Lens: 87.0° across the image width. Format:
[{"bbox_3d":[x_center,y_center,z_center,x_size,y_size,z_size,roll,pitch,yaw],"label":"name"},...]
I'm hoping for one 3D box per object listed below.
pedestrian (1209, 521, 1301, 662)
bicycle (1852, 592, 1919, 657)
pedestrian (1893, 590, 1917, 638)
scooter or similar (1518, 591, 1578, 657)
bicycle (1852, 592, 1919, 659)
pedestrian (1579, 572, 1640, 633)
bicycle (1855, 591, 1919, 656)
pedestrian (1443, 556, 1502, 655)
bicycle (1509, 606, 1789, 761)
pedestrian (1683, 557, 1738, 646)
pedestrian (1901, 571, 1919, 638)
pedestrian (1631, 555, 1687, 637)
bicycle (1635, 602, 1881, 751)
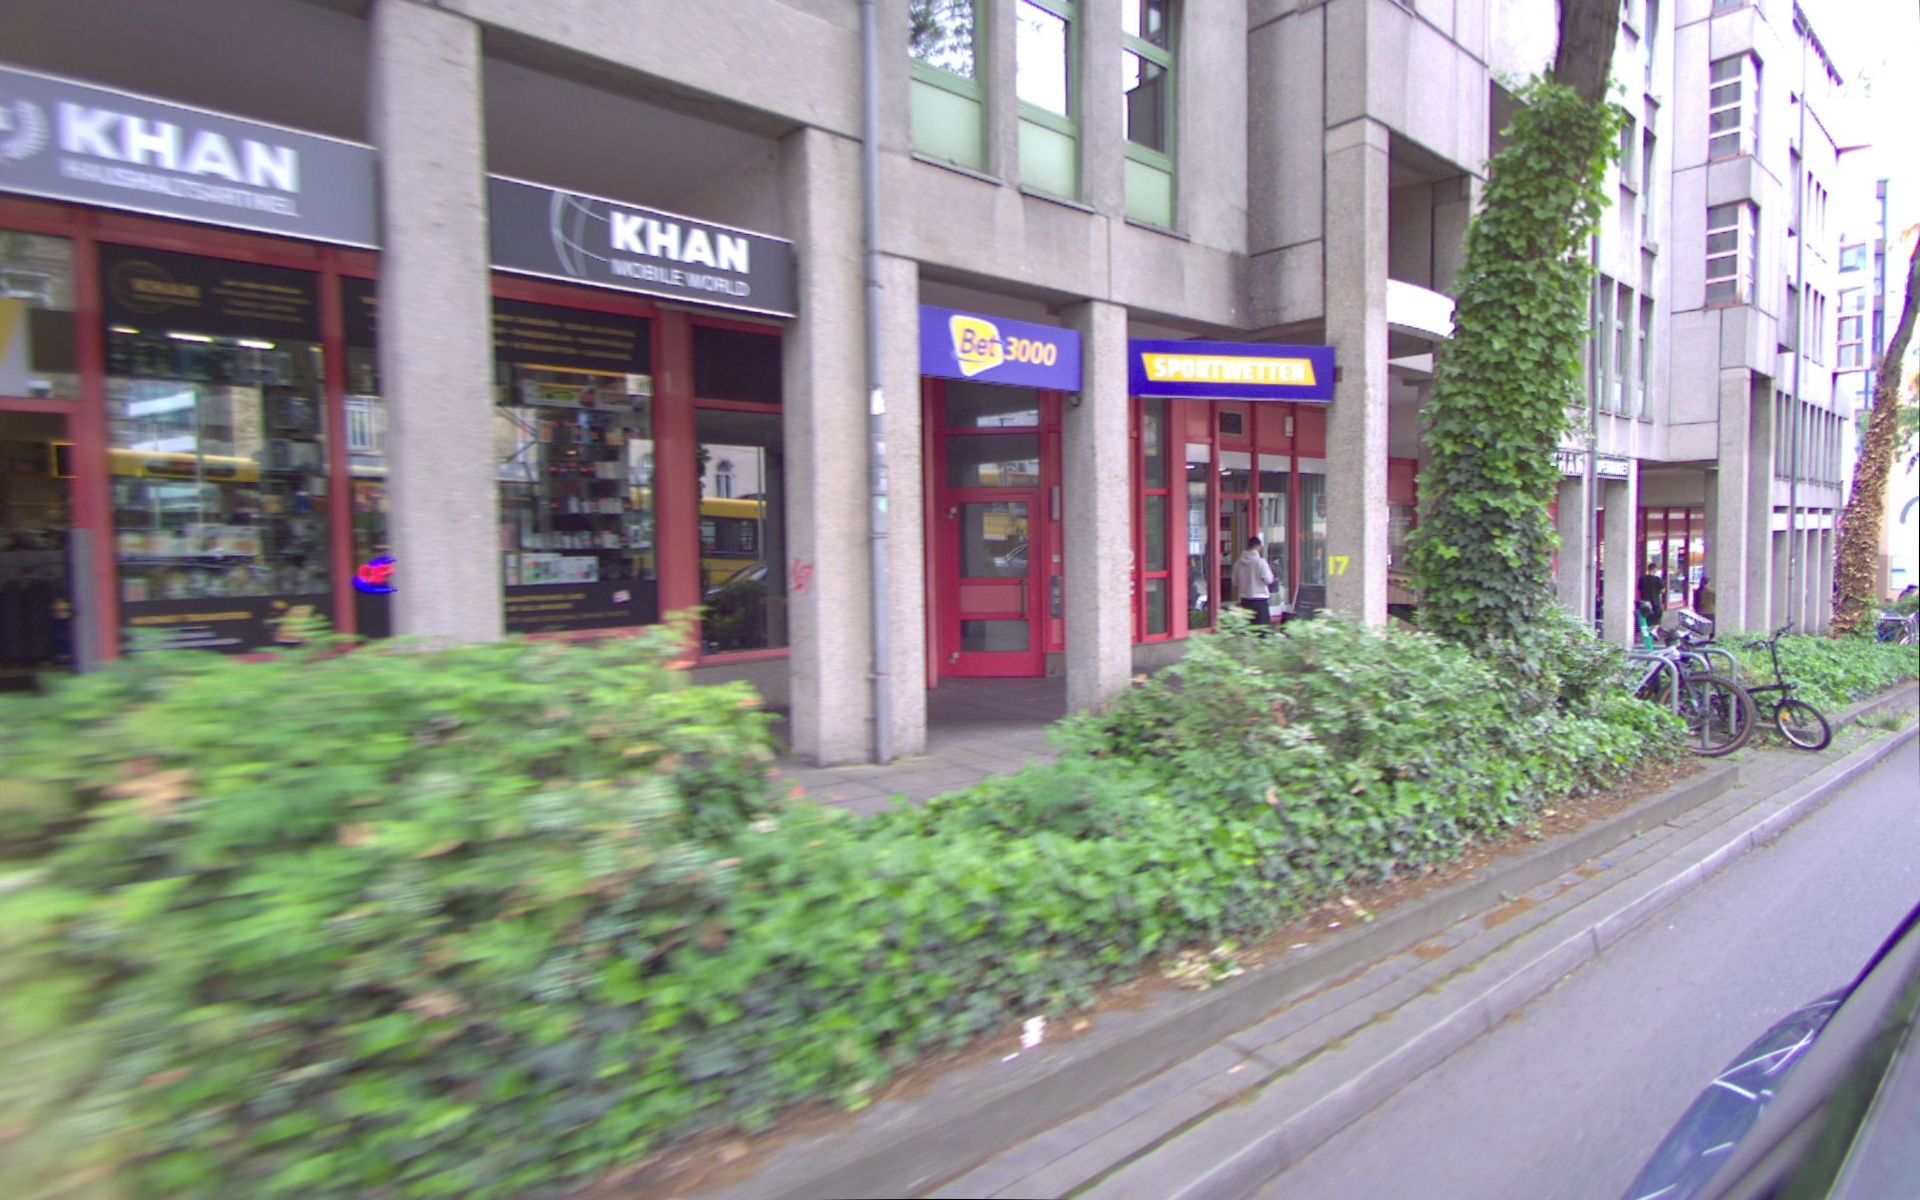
[{"bbox_3d":[3.976,-0.124,13.665,0.710,1.825,0.834,2,2,-37],"label":"pedestrian"},{"bbox_3d":[18.344,0.482,19.473,1.708,1.198,0.442,4,4,43],"label":"bicycle"},{"bbox_3d":[26.910,0.390,28.814,0.511,1.350,0.471,-2,1,-44],"label":"pedestrian"},{"bbox_3d":[10.829,0.421,18.670,0.754,1.123,0.854,1,3,18],"label":"scooter or similar"},{"bbox_3d":[18.039,0.493,19.123,1.708,1.198,0.442,4,4,43],"label":"bicycle"},{"bbox_3d":[15.614,0.037,24.322,1.056,1.380,0.745,4,3,44],"label":"pedestrian"},{"bbox_3d":[18.670,0.476,19.779,1.708,1.198,0.442,4,4,43],"label":"bicycle"},{"bbox_3d":[8.725,0.084,17.215,0.767,1.632,0.617,2,1,-45],"label":"pedestrian"},{"bbox_3d":[6.003,0.668,8.929,0.603,1.089,1.919,-1,4,-42],"label":"bicycle"},{"bbox_3d":[15.757,0.019,21.247,0.762,1.804,0.834,4,4,45],"label":"pedestrian"},{"bbox_3d":[26.461,0.135,27.845,0.820,1.825,0.722,2,2,-44],"label":"pedestrian"},{"bbox_3d":[16.167,-0.102,23.413,0.710,1.825,0.834,2,2,-40],"label":"pedestrian"},{"bbox_3d":[7.259,0.644,9.283,0.602,1.141,1.626,0,4,-36],"label":"bicycle"}]
